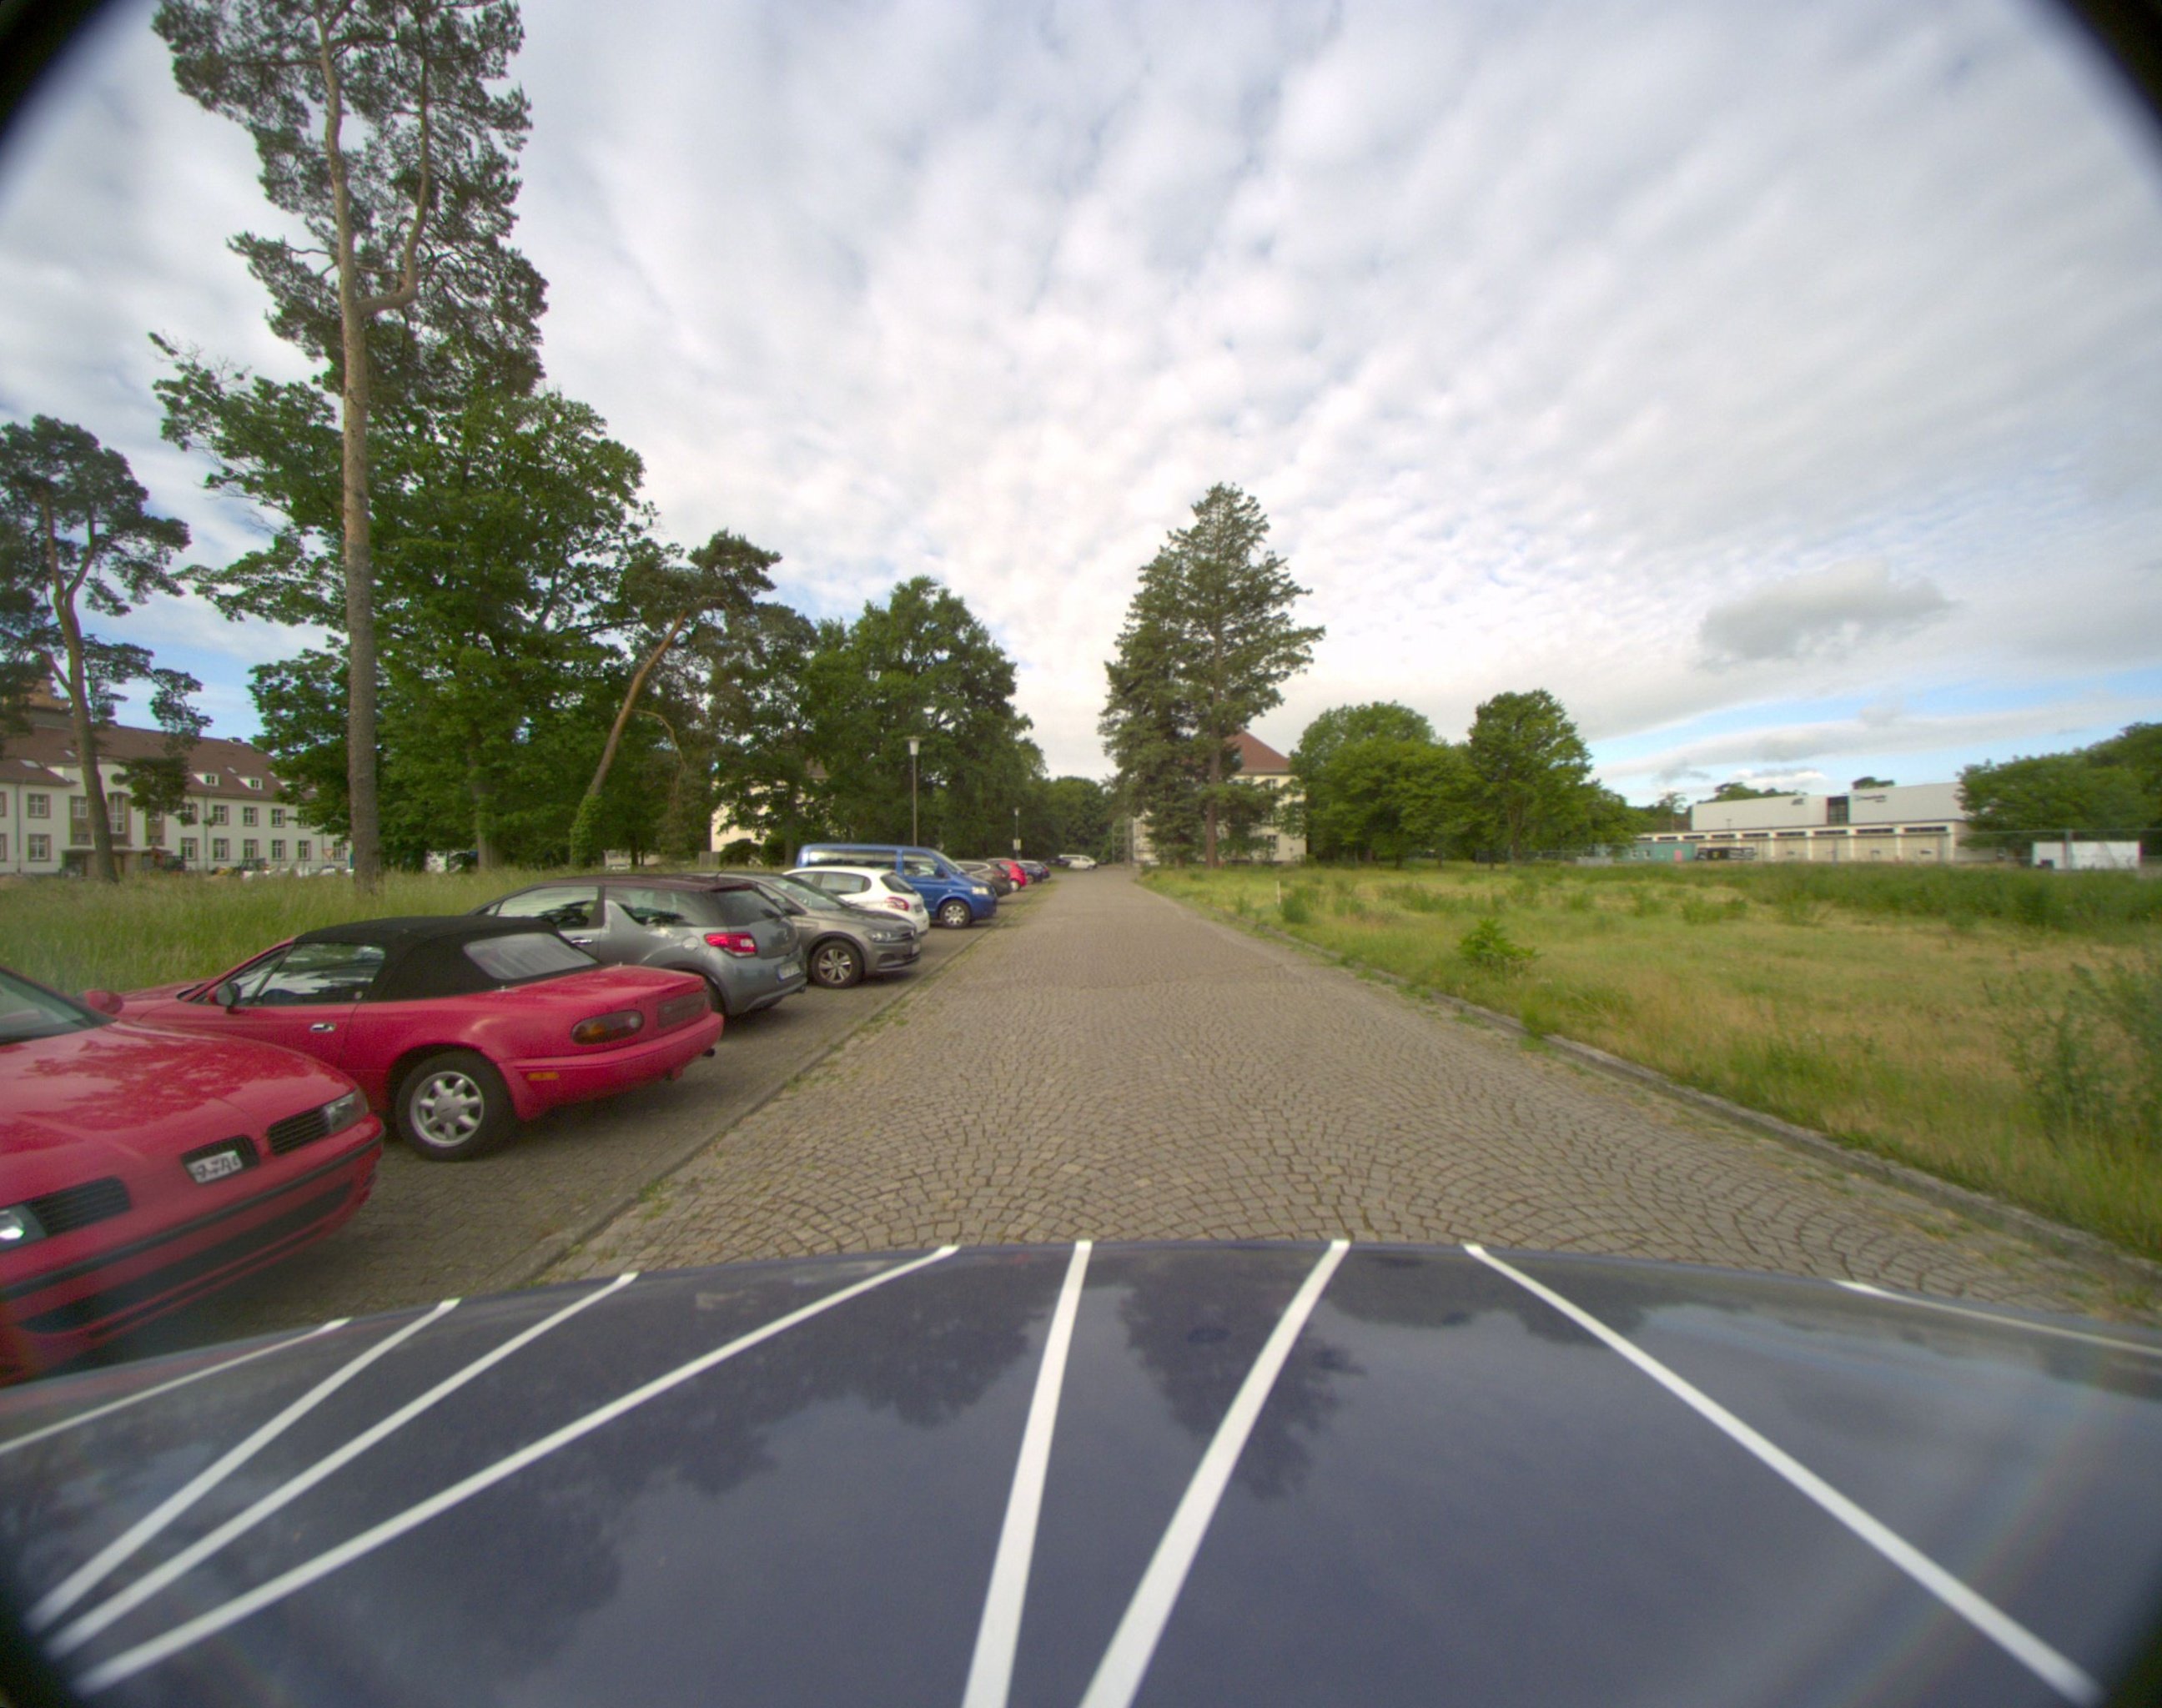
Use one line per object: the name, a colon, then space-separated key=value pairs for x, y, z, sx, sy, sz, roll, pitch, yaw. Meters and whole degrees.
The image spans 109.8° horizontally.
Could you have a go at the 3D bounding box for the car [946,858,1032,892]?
car: x=-4.510 y=1.039 z=37.713 sx=3.997 sy=1.521 sz=2.000 roll=-2 pitch=0 yaw=1

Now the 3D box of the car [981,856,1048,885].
car: x=-4.168 y=1.037 z=47.961 sx=4.007 sy=1.752 sz=2.000 roll=0 pitch=0 yaw=2

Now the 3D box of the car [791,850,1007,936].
car: x=-4.278 y=0.899 z=18.438 sx=4.749 sy=1.927 sz=2.000 roll=1 pitch=0 yaw=0

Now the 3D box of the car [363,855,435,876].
car: x=-67.614 y=1.142 z=75.462 sx=2.153 sy=2.002 sz=5.225 roll=0 pitch=0 yaw=3

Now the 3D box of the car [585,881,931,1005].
car: x=-4.143 y=1.117 z=10.189 sx=3.848 sy=1.448 sz=1.820 roll=0 pitch=0 yaw=3

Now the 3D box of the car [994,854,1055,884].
car: x=-3.879 y=1.013 z=52.357 sx=3.996 sy=2.002 sz=2.000 roll=0 pitch=0 yaw=2

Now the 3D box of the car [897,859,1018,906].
car: x=-4.383 y=0.988 z=27.380 sx=3.997 sy=1.601 sz=2.000 roll=0 pitch=0 yaw=1

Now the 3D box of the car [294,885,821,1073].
car: x=-4.702 y=1.087 z=7.304 sx=3.787 sy=1.496 sz=1.799 roll=0 pitch=0 yaw=-1

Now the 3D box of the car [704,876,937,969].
car: x=-4.344 y=1.124 z=13.014 sx=3.408 sy=1.443 sz=1.637 roll=0 pitch=0 yaw=1

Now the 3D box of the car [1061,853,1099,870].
car: x=-0.116 y=0.996 z=101.203 sx=5.030 sy=2.164 sz=2.000 roll=0 pitch=0 yaw=2

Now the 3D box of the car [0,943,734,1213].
car: x=-4.244 y=1.219 z=4.606 sx=3.600 sy=1.200 sz=1.495 roll=0 pitch=0 yaw=1

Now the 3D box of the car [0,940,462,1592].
car: x=-4.621 y=1.088 z=2.329 sx=3.972 sy=1.443 sz=1.800 roll=0 pitch=0 yaw=1
